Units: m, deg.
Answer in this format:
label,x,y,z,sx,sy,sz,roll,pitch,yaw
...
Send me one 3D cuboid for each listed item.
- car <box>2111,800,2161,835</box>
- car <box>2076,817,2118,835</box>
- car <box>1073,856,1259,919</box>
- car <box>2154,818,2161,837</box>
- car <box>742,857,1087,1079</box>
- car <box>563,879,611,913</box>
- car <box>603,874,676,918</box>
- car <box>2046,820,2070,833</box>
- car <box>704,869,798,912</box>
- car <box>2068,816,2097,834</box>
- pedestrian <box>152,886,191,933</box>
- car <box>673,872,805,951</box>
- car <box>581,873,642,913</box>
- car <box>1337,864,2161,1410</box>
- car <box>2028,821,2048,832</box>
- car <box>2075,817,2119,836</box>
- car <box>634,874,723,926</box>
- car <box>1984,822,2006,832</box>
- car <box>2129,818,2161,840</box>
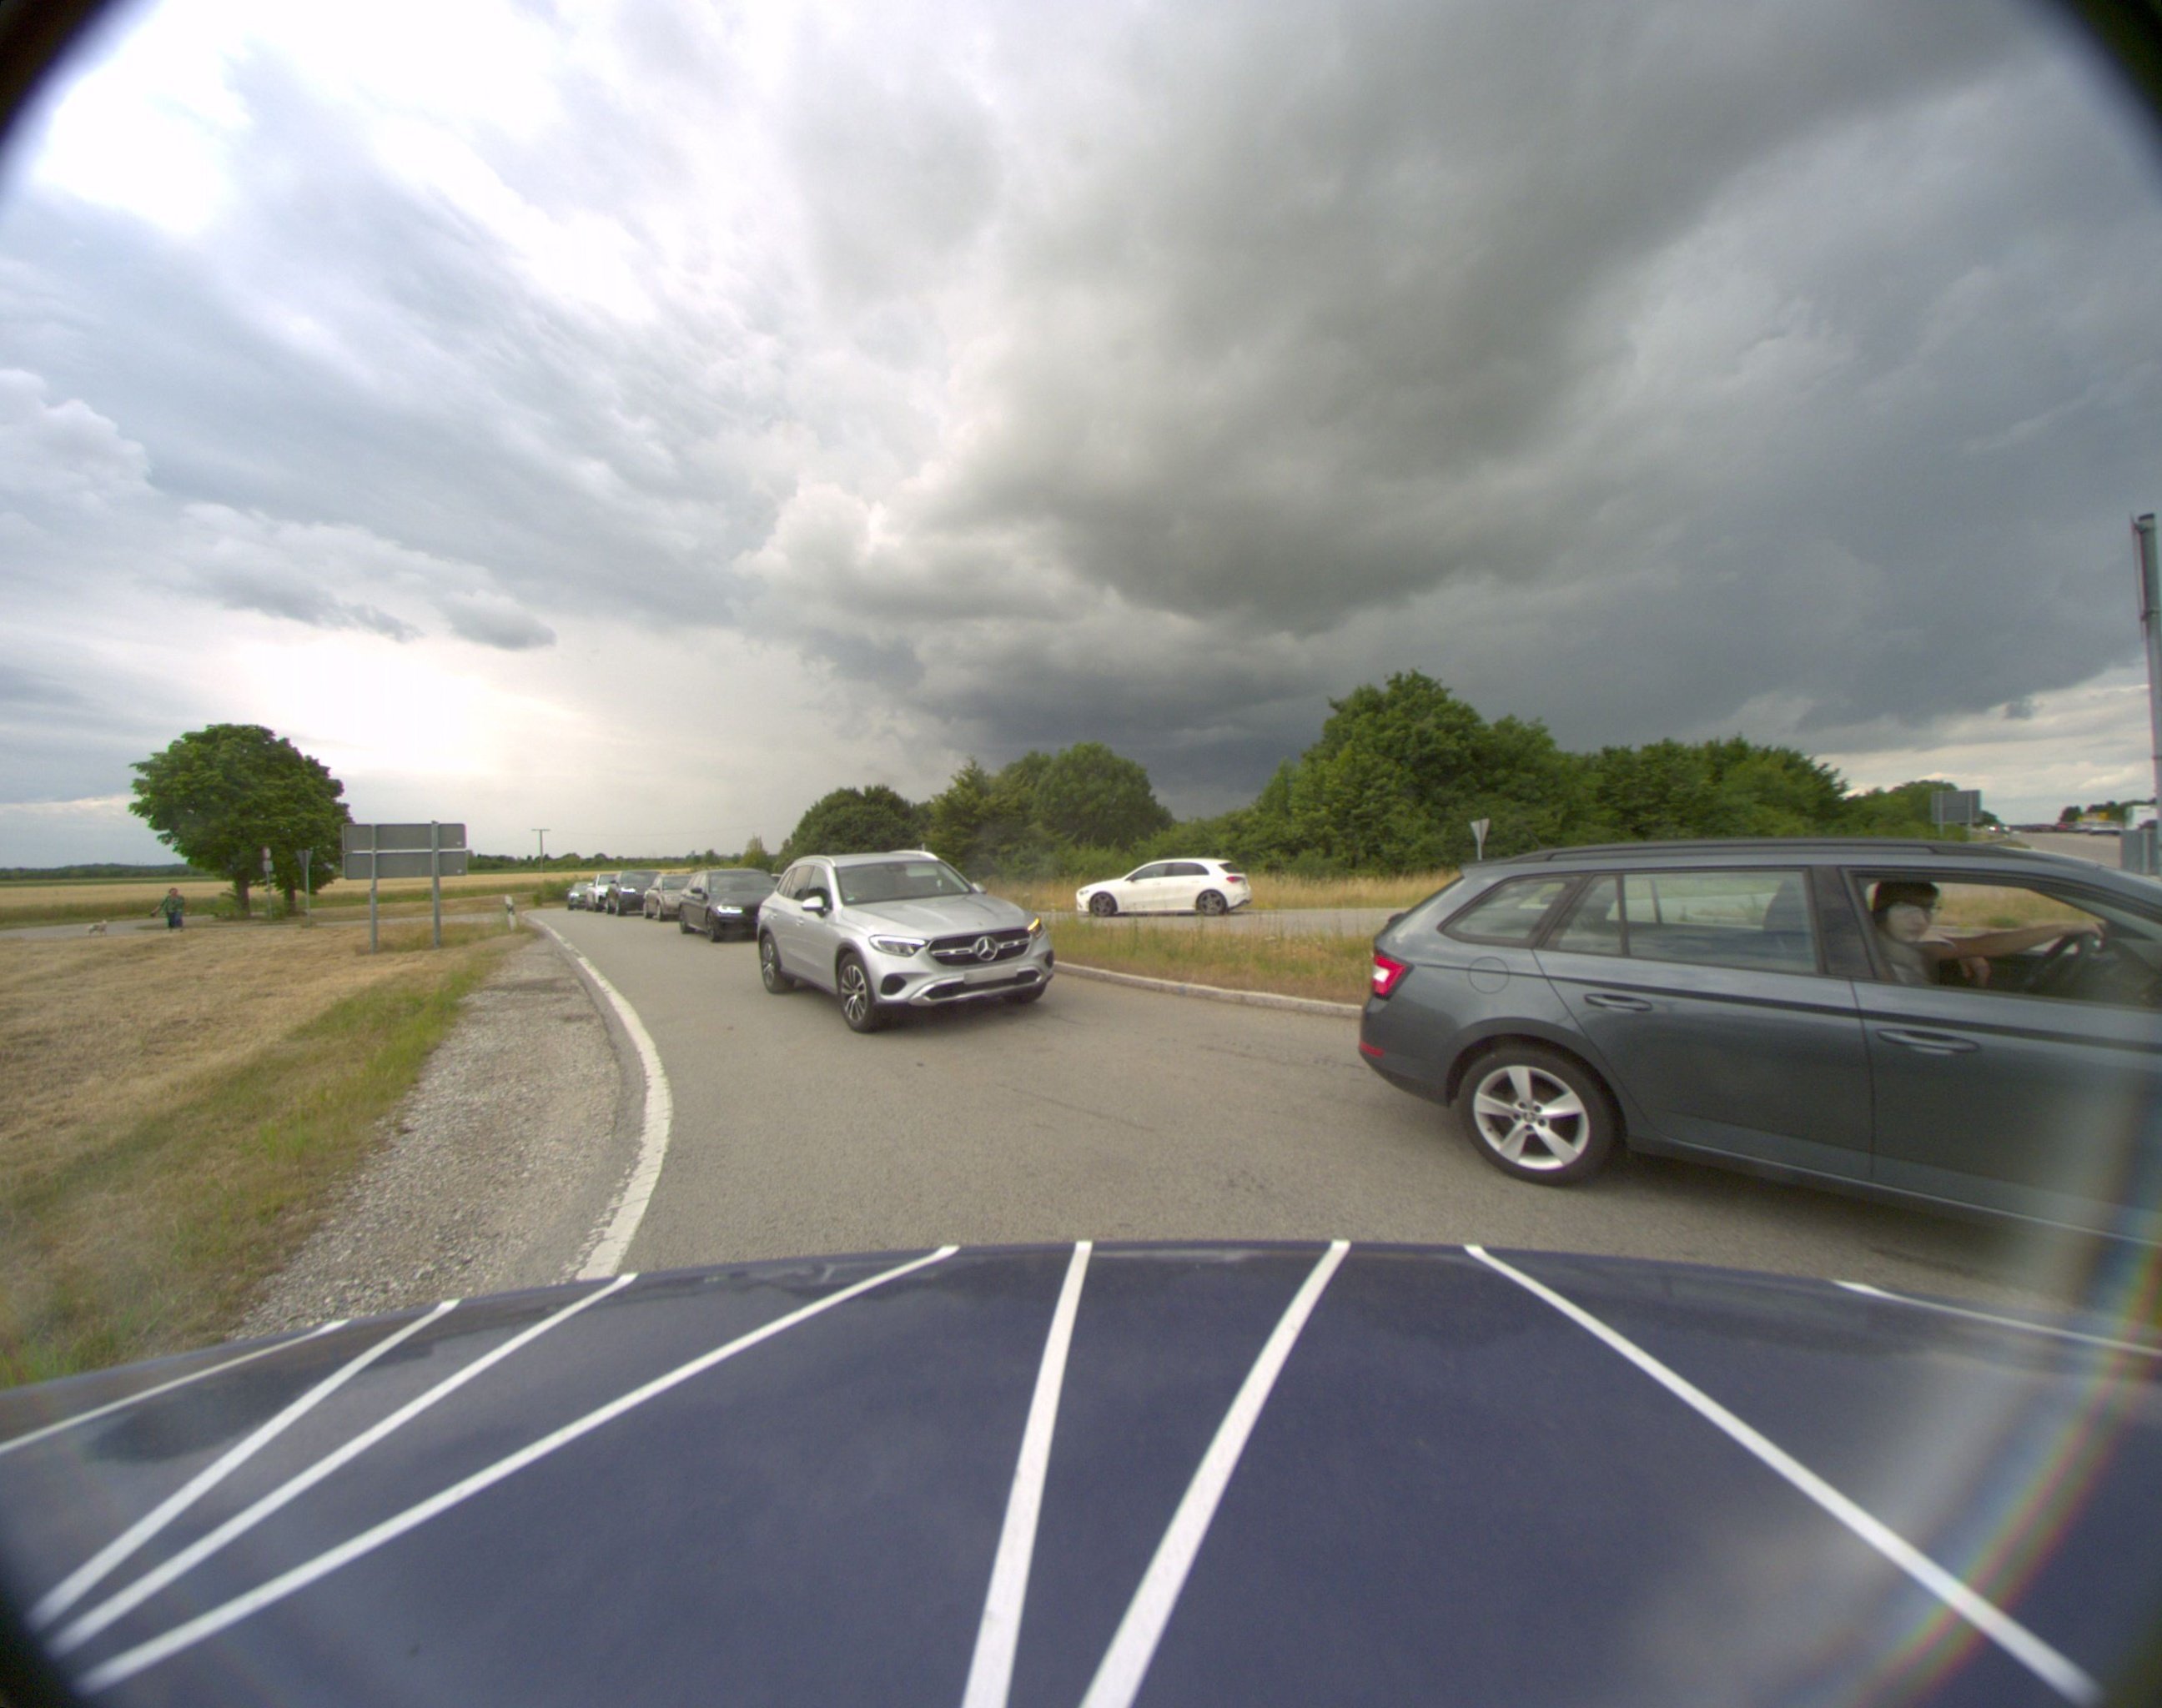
label,x,y,z,sx,sy,sz,roll,pitch,yaw
car,98.174,-3.356,70.580,6.571,3.011,2.334,-1,0,-42
car,112.934,-3.084,84.528,4.885,1.911,2.334,-1,0,-42
car,2.171,0.817,19.296,4.383,1.443,1.774,-1,1,20
car,83.770,-2.050,57.888,4.008,1.516,1.843,-1,0,-42
car,-2.050,0.891,8.132,2.000,1.577,4.383,-4,2,-35
car,-26.020,2.157,39.955,1.725,1.486,4.203,-4,2,-37
car,-16.483,1.488,28.270,1.725,1.345,4.203,-4,2,-37
car,137.939,-3.829,107.255,4.008,1.740,1.853,-1,1,-41
car,-12.918,1.374,29.651,4.300,1.400,1.824,1,1,44
car,122.575,-3.533,93.005,4.008,2.002,1.792,-1,0,-43
pedestrian,-32.351,1.955,27.034,0.942,1.602,0.775,-1,1,35
car,-7.703,1.155,16.839,1.725,1.345,4.683,-4,2,-35
car,-20.700,1.659,33.416,1.725,1.486,4.626,-4,2,-37
car,3.354,0.804,2.929,4.105,1.439,1.722,-1,2,42
car,160.524,-4.608,127.494,4.008,1.740,1.853,-1,1,-41
car,106.972,-2.889,80.073,4.885,1.911,2.334,-1,0,-42
car,-12.591,1.362,23.654,1.725,1.345,4.202,-2,0,-37
car,139.289,-4.085,115.774,4.008,1.474,1.994,-2,1,-42
car,90.127,-2.110,63.956,4.008,1.740,1.853,-1,1,-42
